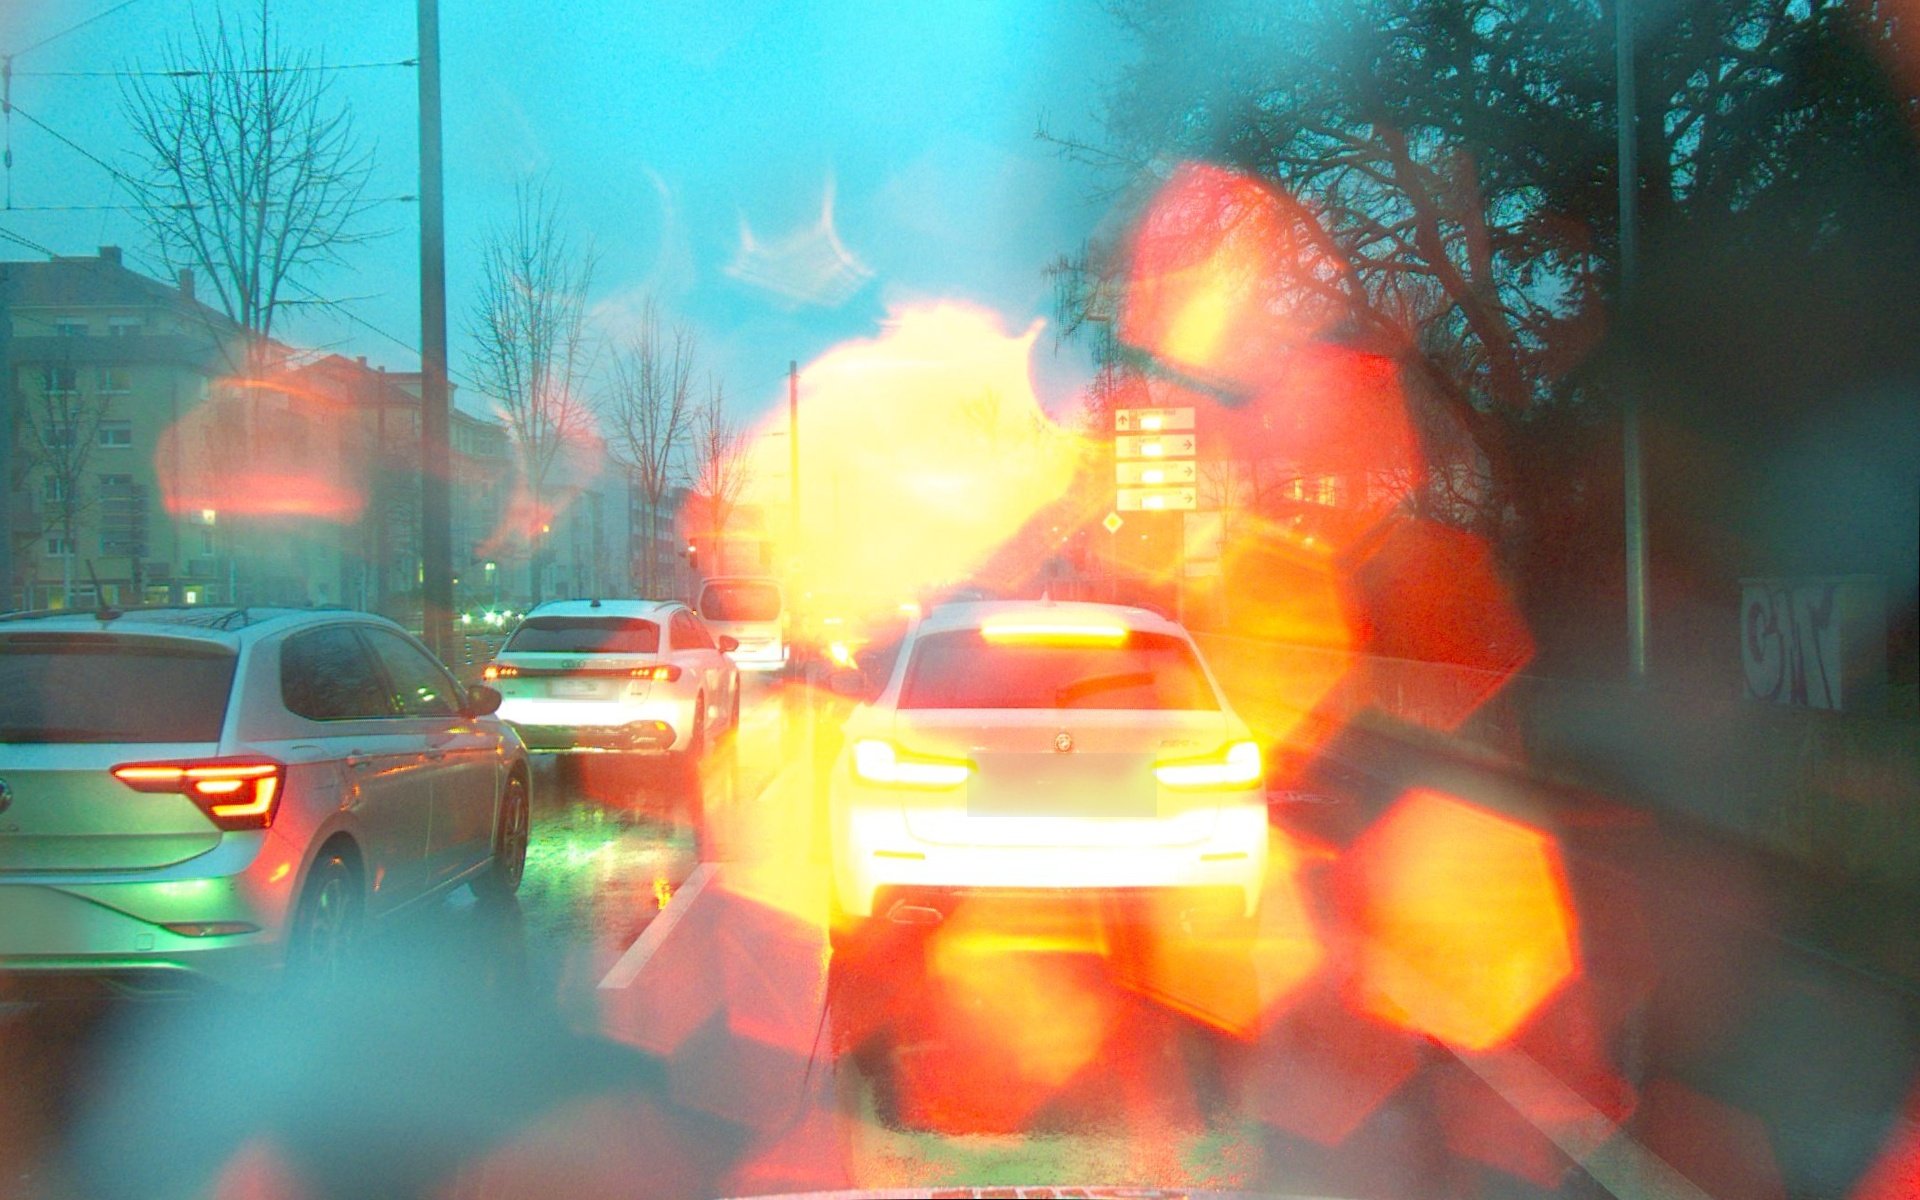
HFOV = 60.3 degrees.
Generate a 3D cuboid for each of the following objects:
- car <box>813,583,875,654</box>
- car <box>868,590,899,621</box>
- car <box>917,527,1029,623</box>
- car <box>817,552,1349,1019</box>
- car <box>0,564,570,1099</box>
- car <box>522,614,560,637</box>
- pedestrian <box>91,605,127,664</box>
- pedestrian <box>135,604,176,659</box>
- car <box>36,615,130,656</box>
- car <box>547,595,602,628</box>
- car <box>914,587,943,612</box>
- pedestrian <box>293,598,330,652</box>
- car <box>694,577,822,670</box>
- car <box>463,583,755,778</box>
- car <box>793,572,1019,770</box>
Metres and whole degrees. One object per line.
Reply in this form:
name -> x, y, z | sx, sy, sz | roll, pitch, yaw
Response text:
car -> -2.898, 0.458, 41.350 | 1.476, 1.681, 2.842 | 1, 0, -4
car -> -3.449, 0.267, 74.121 | 1.336, 1.339, 2.714 | 1, 0, -3
car -> 0.180, -0.390, 27.321 | 1.702, 1.444, 3.702 | -1, 0, -1
car -> 0.394, 0.628, 8.218 | 1.825, 1.583, 4.937 | -1, 0, -1
car -> -2.876, 0.665, 6.824 | 1.659, 1.560, 3.999 | 0, 0, -1
car -> -24.684, 1.504, 97.613 | 1.659, 1.300, 4.142 | -1, 0, -7
pedestrian -> -30.051, 1.212, 58.429 | 1.054, 2.049, 0.999 | -1, 0, -25
pedestrian -> -30.652, 1.188, 63.007 | 0.938, 2.049, 1.008 | -1, 0, 15
car -> -43.736, 1.767, 82.508 | 3.679, 1.976, 1.838 | 1, 0, -9
car -> -19.628, 0.566, 84.275 | 1.953, 1.630, 3.998 | 1, 0, -2
car -> -1.925, -0.051, 101.929 | 1.702, 1.444, 4.145 | -1, 0, -1
pedestrian -> -25.298, 0.964, 64.538 | 1.253, 2.049, 1.000 | -1, 0, -25
car -> -3.408, 0.360, 28.565 | 1.702, 1.444, 4.393 | -1, 0, -1
car -> -3.044, 0.620, 15.301 | 1.762, 1.492, 4.585 | -1, 0, -1
car -> -0.454, 0.556, 15.002 | 1.763, 1.537, 3.894 | -1, 0, -1
